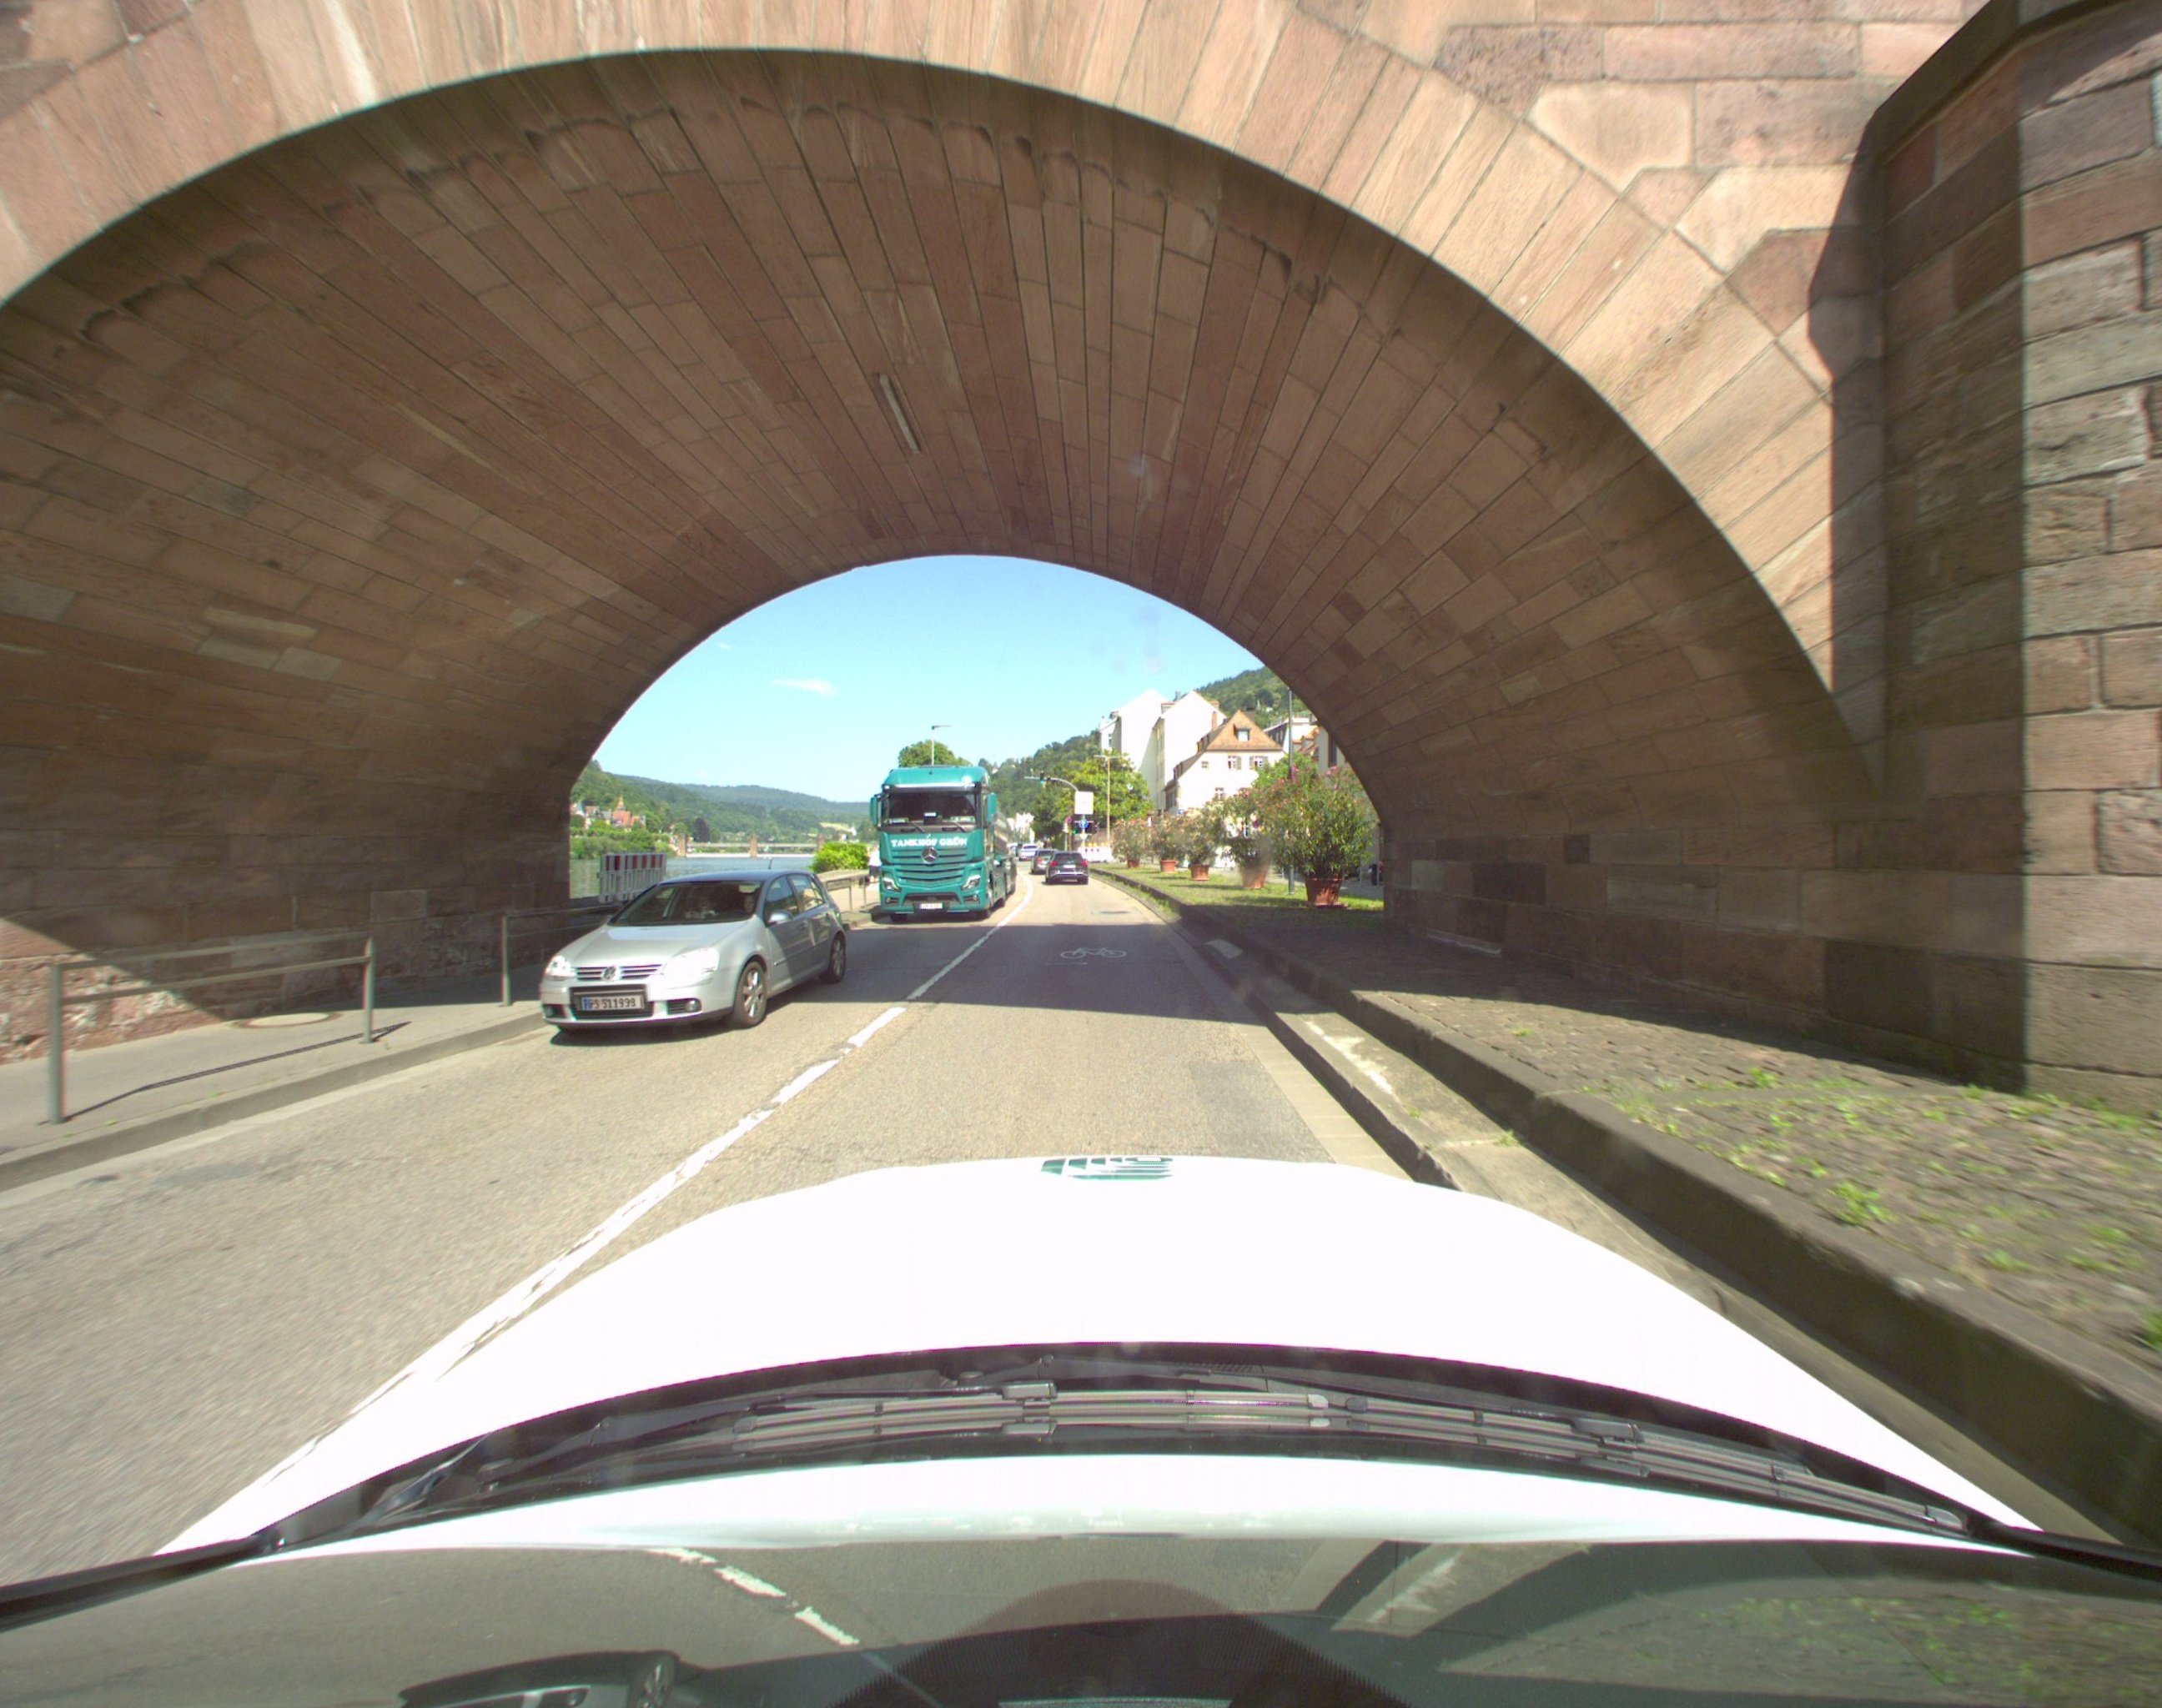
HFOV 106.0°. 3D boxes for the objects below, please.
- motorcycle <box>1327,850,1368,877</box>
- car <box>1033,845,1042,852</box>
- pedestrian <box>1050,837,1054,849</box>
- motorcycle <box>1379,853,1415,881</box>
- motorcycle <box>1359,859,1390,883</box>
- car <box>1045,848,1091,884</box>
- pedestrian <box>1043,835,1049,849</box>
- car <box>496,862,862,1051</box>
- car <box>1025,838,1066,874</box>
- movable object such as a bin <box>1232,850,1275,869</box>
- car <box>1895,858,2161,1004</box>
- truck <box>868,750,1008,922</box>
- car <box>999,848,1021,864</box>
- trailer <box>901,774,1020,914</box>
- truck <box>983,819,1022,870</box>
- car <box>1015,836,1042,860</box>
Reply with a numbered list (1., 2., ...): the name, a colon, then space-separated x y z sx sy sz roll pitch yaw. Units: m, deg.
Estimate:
1. motorcycle: 12.987 0.446 39.614 2.194 1.267 0.774 -1 0 -38
2. car: -9.972 -1.287 185.644 1.990 1.453 4.002 -1 -1 -4
3. pedestrian: -3.617 -1.378 102.022 0.455 1.606 0.578 -1 0 -5
4. motorcycle: 13.686 0.536 35.194 0.620 1.148 2.211 0 0 44
5. motorcycle: 13.167 0.753 36.457 0.540 0.986 1.943 0 0 44
6. car: -0.651 0.519 37.396 1.853 1.523 3.994 -1 0 -4
7. pedestrian: -4.371 -1.493 102.036 0.680 1.742 0.911 -1 0 -5
8. car: -3.865 0.858 8.833 1.717 1.436 4.400 -2 0 0
9. car: -2.180 0.134 48.986 1.993 2.014 3.987 -1 -1 -9
10. movable object such as a bin: 11.159 0.334 52.592 2.973 1.110 1.243 -2 1 -43
11. car: 11.952 0.808 9.349 1.549 1.476 3.667 -1 0 0
12. truck: -3.485 -0.453 21.390 2.516 3.748 6.244 -2 1 -1
13. car: -7.712 0.190 88.217 1.994 1.662 3.986 -1 0 -10
14. trailer: -3.620 -0.310 27.384 2.517 3.644 11.523 -2 1 -2
15. truck: -5.545 -0.709 57.372 2.373 3.261 7.595 -3 1 -6
16. car: -4.699 -0.537 71.845 1.993 2.014 3.988 1 -1 -9
